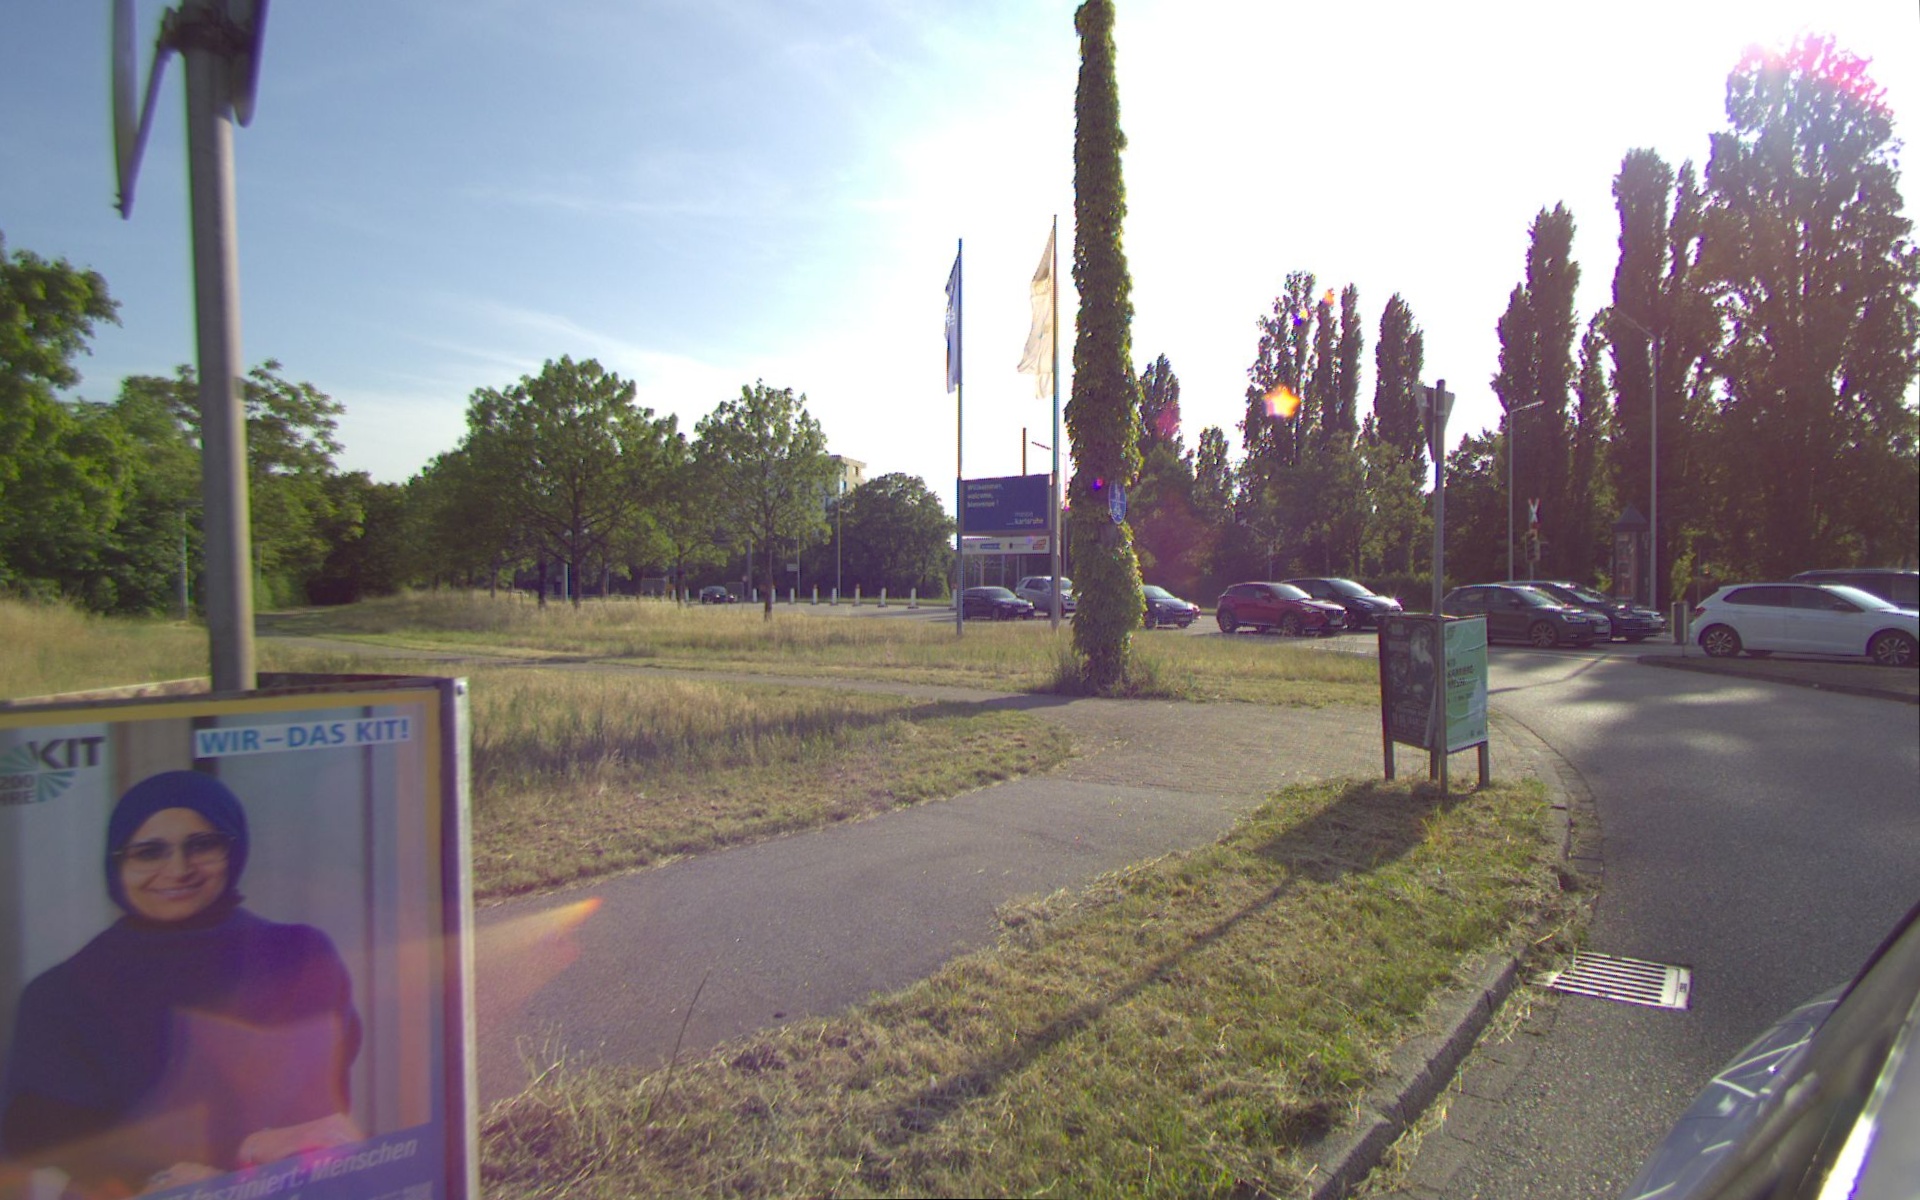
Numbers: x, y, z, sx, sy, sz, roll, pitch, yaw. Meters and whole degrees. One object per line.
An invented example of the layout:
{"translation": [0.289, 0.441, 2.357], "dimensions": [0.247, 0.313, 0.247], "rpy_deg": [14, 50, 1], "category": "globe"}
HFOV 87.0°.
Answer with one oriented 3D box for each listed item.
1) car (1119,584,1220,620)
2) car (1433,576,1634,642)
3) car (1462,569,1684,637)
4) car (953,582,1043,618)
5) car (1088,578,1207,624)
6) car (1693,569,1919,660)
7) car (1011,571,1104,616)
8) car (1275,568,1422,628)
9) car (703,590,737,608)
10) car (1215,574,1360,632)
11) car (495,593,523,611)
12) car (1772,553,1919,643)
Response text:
{"translation": [7.936, 0.054, 38.677], "dimensions": [1.702, 1.221, 3.852], "rpy_deg": [-3, 2, -28], "category": "car"}
{"translation": [13.186, 0.165, 23.500], "dimensions": [1.613, 1.415, 3.833], "rpy_deg": [0, 1, -27], "category": "car"}
{"translation": [15.255, 0.043, 25.476], "dimensions": [1.671, 1.527, 4.560], "rpy_deg": [-1, 1, -28], "category": "car"}
{"translation": [1.581, -0.038, 43.995], "dimensions": [1.865, 1.402, 4.360], "rpy_deg": [-3, 2, -29], "category": "car"}
{"translation": [6.473, 0.012, 35.380], "dimensions": [1.713, 1.524, 4.225], "rpy_deg": [-1, 1, -31], "category": "car"}
{"translation": [15.745, 0.196, 18.033], "dimensions": [1.628, 1.461, 4.020], "rpy_deg": [0, 2, -29], "category": "car"}
{"translation": [4.292, -0.289, 45.100], "dimensions": [1.865, 1.846, 4.359], "rpy_deg": [-3, 2, -31], "category": "car"}
{"translation": [11.920, -0.086, 31.331], "dimensions": [1.734, 1.691, 4.089], "rpy_deg": [-1, 1, -28], "category": "car"}
{"translation": [-20.612, -0.072, 86.940], "dimensions": [1.858, 1.474, 3.914], "rpy_deg": [0, 1, -29], "category": "car"}
{"translation": [9.544, 0.056, 29.740], "dimensions": [1.677, 1.571, 3.982], "rpy_deg": [0, 1, -29], "category": "car"}
{"translation": [-55.325, 0.185, 124.166], "dimensions": [1.831, 2.038, 4.169], "rpy_deg": [-3, 3, -43], "category": "car"}
{"translation": [18.612, -0.040, 19.292], "dimensions": [1.480, 1.672, 4.752], "rpy_deg": [0, 1, -24], "category": "car"}
